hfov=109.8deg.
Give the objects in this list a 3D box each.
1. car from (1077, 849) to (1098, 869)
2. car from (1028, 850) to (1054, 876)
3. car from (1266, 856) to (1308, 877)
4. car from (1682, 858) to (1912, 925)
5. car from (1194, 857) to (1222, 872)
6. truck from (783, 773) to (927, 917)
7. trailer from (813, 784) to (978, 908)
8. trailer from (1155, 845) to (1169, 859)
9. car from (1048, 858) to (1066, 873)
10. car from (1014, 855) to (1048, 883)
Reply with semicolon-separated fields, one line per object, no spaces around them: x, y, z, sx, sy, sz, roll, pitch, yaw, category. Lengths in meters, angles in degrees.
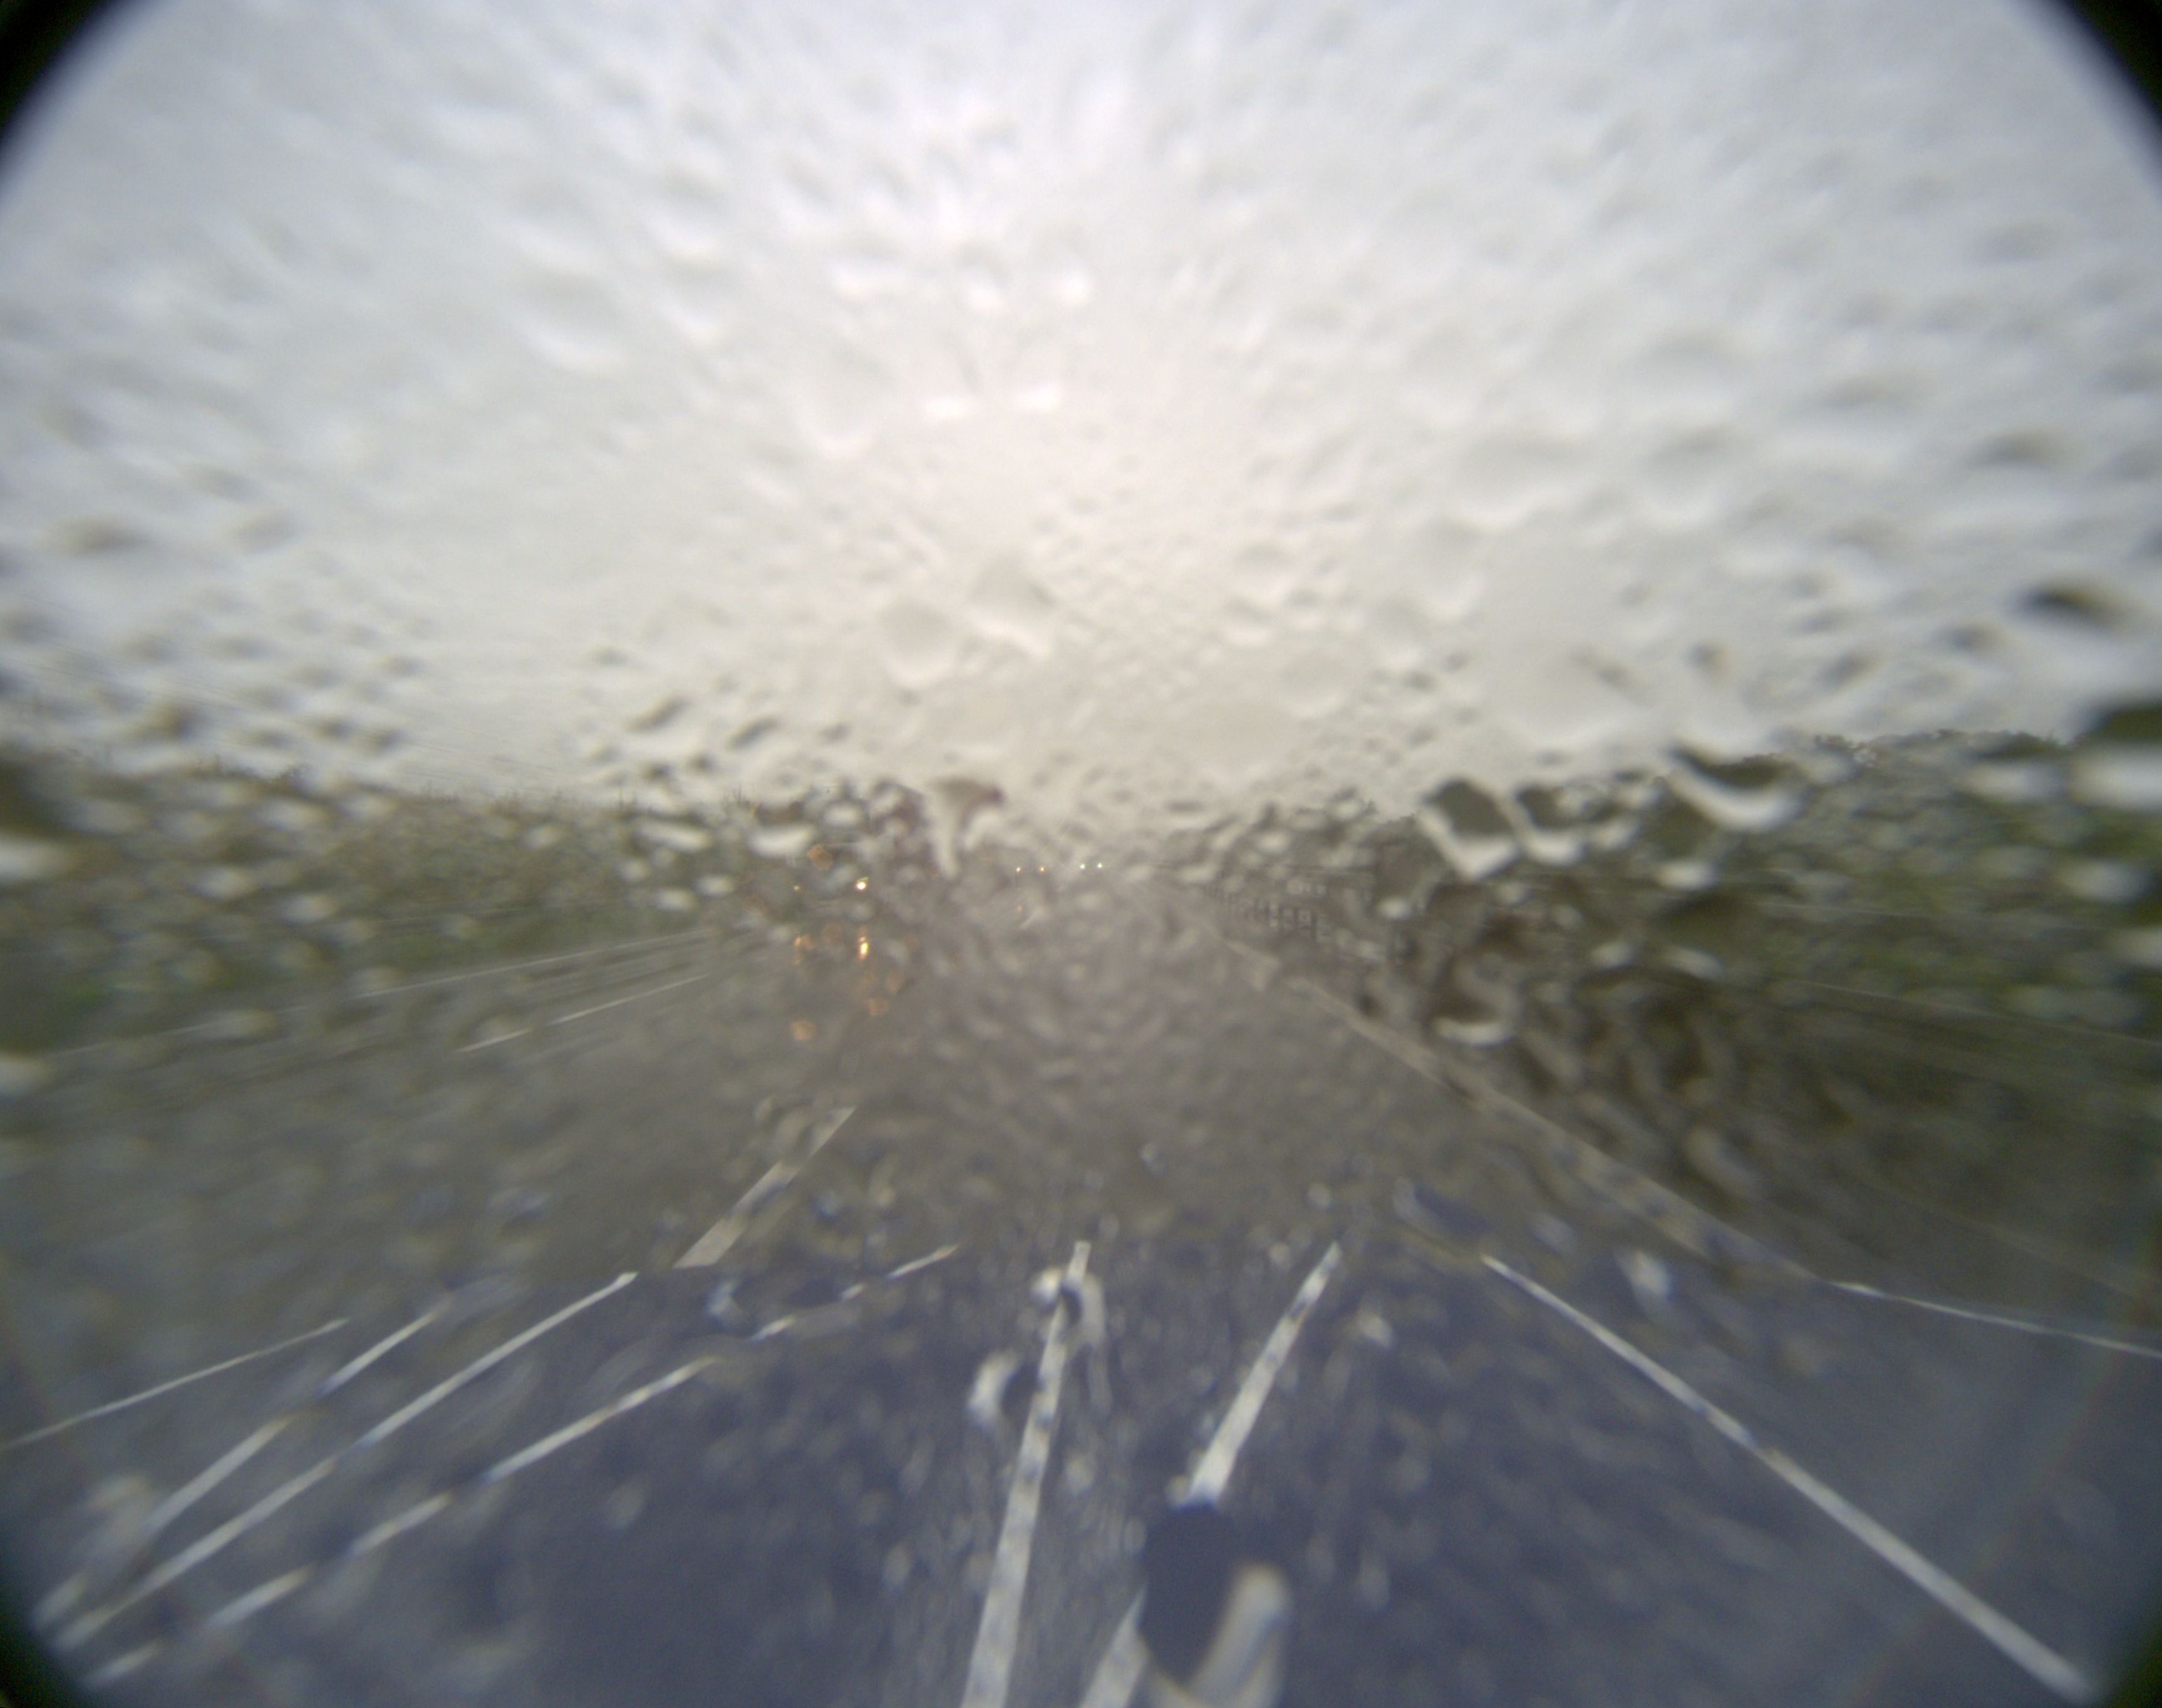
0.579;0.422;68.095;1.845;1.671;4.000;-2;0;0;car
-2.608;0.579;50.420;1.517;1.606;3.186;-2;0;0;car
15.953;0.948;59.058;1.998;1.503;4.647;-2;0;1;car
18.921;0.915;20.447;1.998;1.503;4.448;-2;0;1;car
12.614;1.015;75.446;1.998;1.425;4.648;-2;0;1;car
-6.861;-0.251;24.076;2.457;3.866;6.199;-2;0;1;truck
-6.806;-0.255;31.610;2.486;3.743;16.544;-2;0;1;trailer
22.907;-0.618;215.362;2.640;3.782;13.585;-2;0;1;trailer
-2.773;1.316;89.343;1.845;1.671;4.000;-2;0;0;car
-2.919;0.852;44.999;1.663;1.491;3.836;-2;0;1;car
